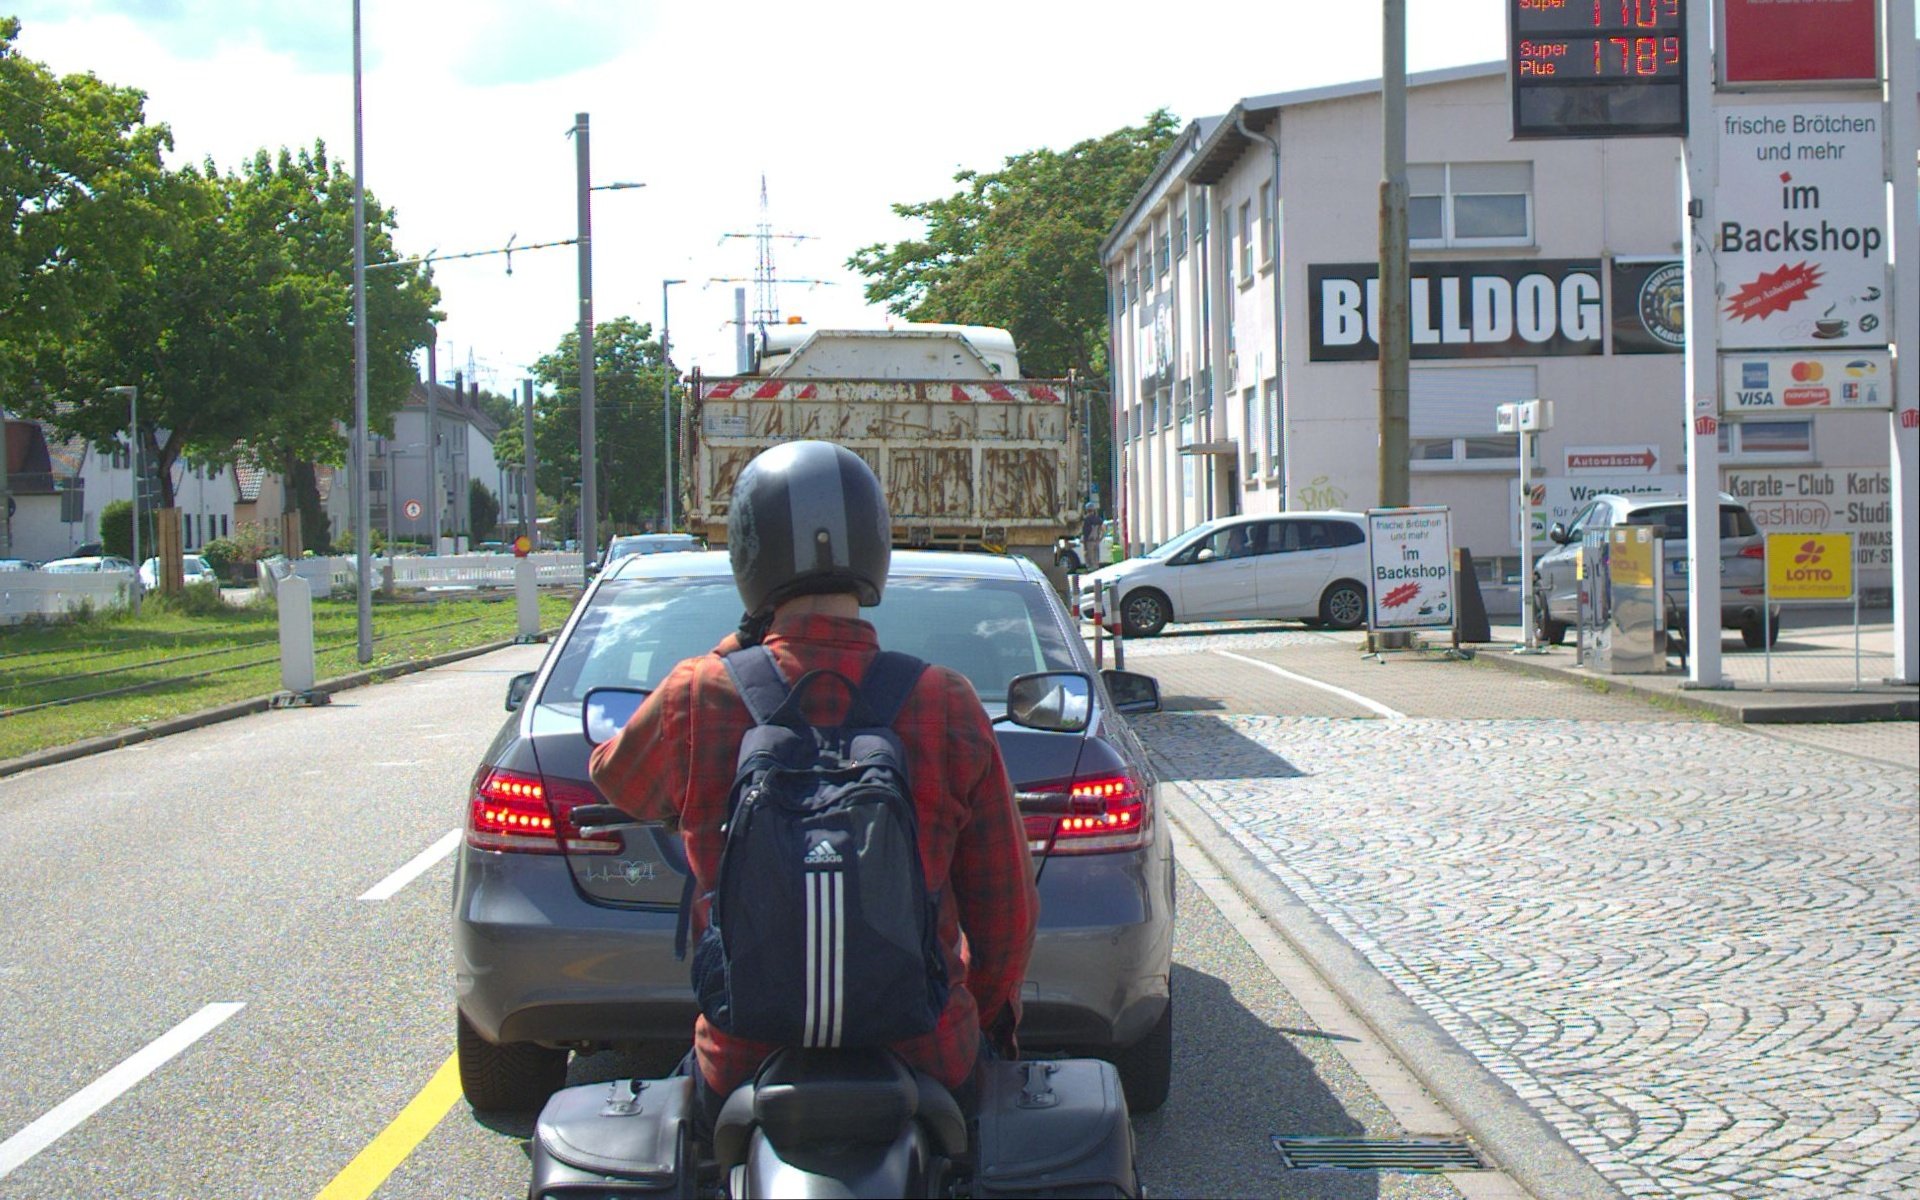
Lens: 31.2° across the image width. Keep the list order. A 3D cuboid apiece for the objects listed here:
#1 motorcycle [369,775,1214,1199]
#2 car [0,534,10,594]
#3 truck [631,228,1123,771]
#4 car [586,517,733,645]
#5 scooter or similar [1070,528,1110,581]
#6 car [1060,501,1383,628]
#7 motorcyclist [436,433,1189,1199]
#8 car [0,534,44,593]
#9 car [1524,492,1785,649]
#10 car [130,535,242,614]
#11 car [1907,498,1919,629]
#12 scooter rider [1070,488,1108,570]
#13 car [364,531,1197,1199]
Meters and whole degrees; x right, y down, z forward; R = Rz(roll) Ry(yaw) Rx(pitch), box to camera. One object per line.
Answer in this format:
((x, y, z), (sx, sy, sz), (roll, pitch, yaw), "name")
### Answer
((-0.213, 0.863, 5.208), (0.976, 1.010, 2.432), (1, 1, -1), "motorcycle")
((-28.670, -0.997, 98.577), (1.698, 1.733, 4.062), (-1, 1, 0), "car")
((-0.632, -0.714, 25.469), (2.970, 3.293, 8.408), (-1, 1, -2), "truck")
((-4.142, -0.290, 46.930), (1.680, 1.619, 4.120), (-1, 1, -9), "car")
((2.905, -1.021, 76.972), (0.795, 1.141, 1.519), (-1, 1, -1), "scooter or similar")
((3.552, -0.500, 47.032), (4.104, 1.619, 1.686), (-1, 1, -8), "car")
((-0.202, 0.588, 5.085), (0.969, 1.627, 1.215), (1, 1, -1), "motorcyclist")
((-29.265, -1.108, 104.588), (1.698, 1.733, 4.062), (-1, 1, 0), "car")
((7.327, -0.340, 36.646), (1.832, 1.530, 4.010), (-1, 1, -2), "car")
((-17.941, -0.618, 79.800), (1.698, 1.733, 3.860), (-1, 1, 0), "car")
((11.791, -0.400, 37.244), (1.832, 1.474, 4.010), (-1, 1, -2), "car")
((2.892, -1.585, 76.932), (0.795, 1.812, 0.508), (-1, 1, -1), "scooter rider")
((-0.457, 0.569, 9.731), (1.832, 1.474, 4.010), (-1, 1, -2), "car")
